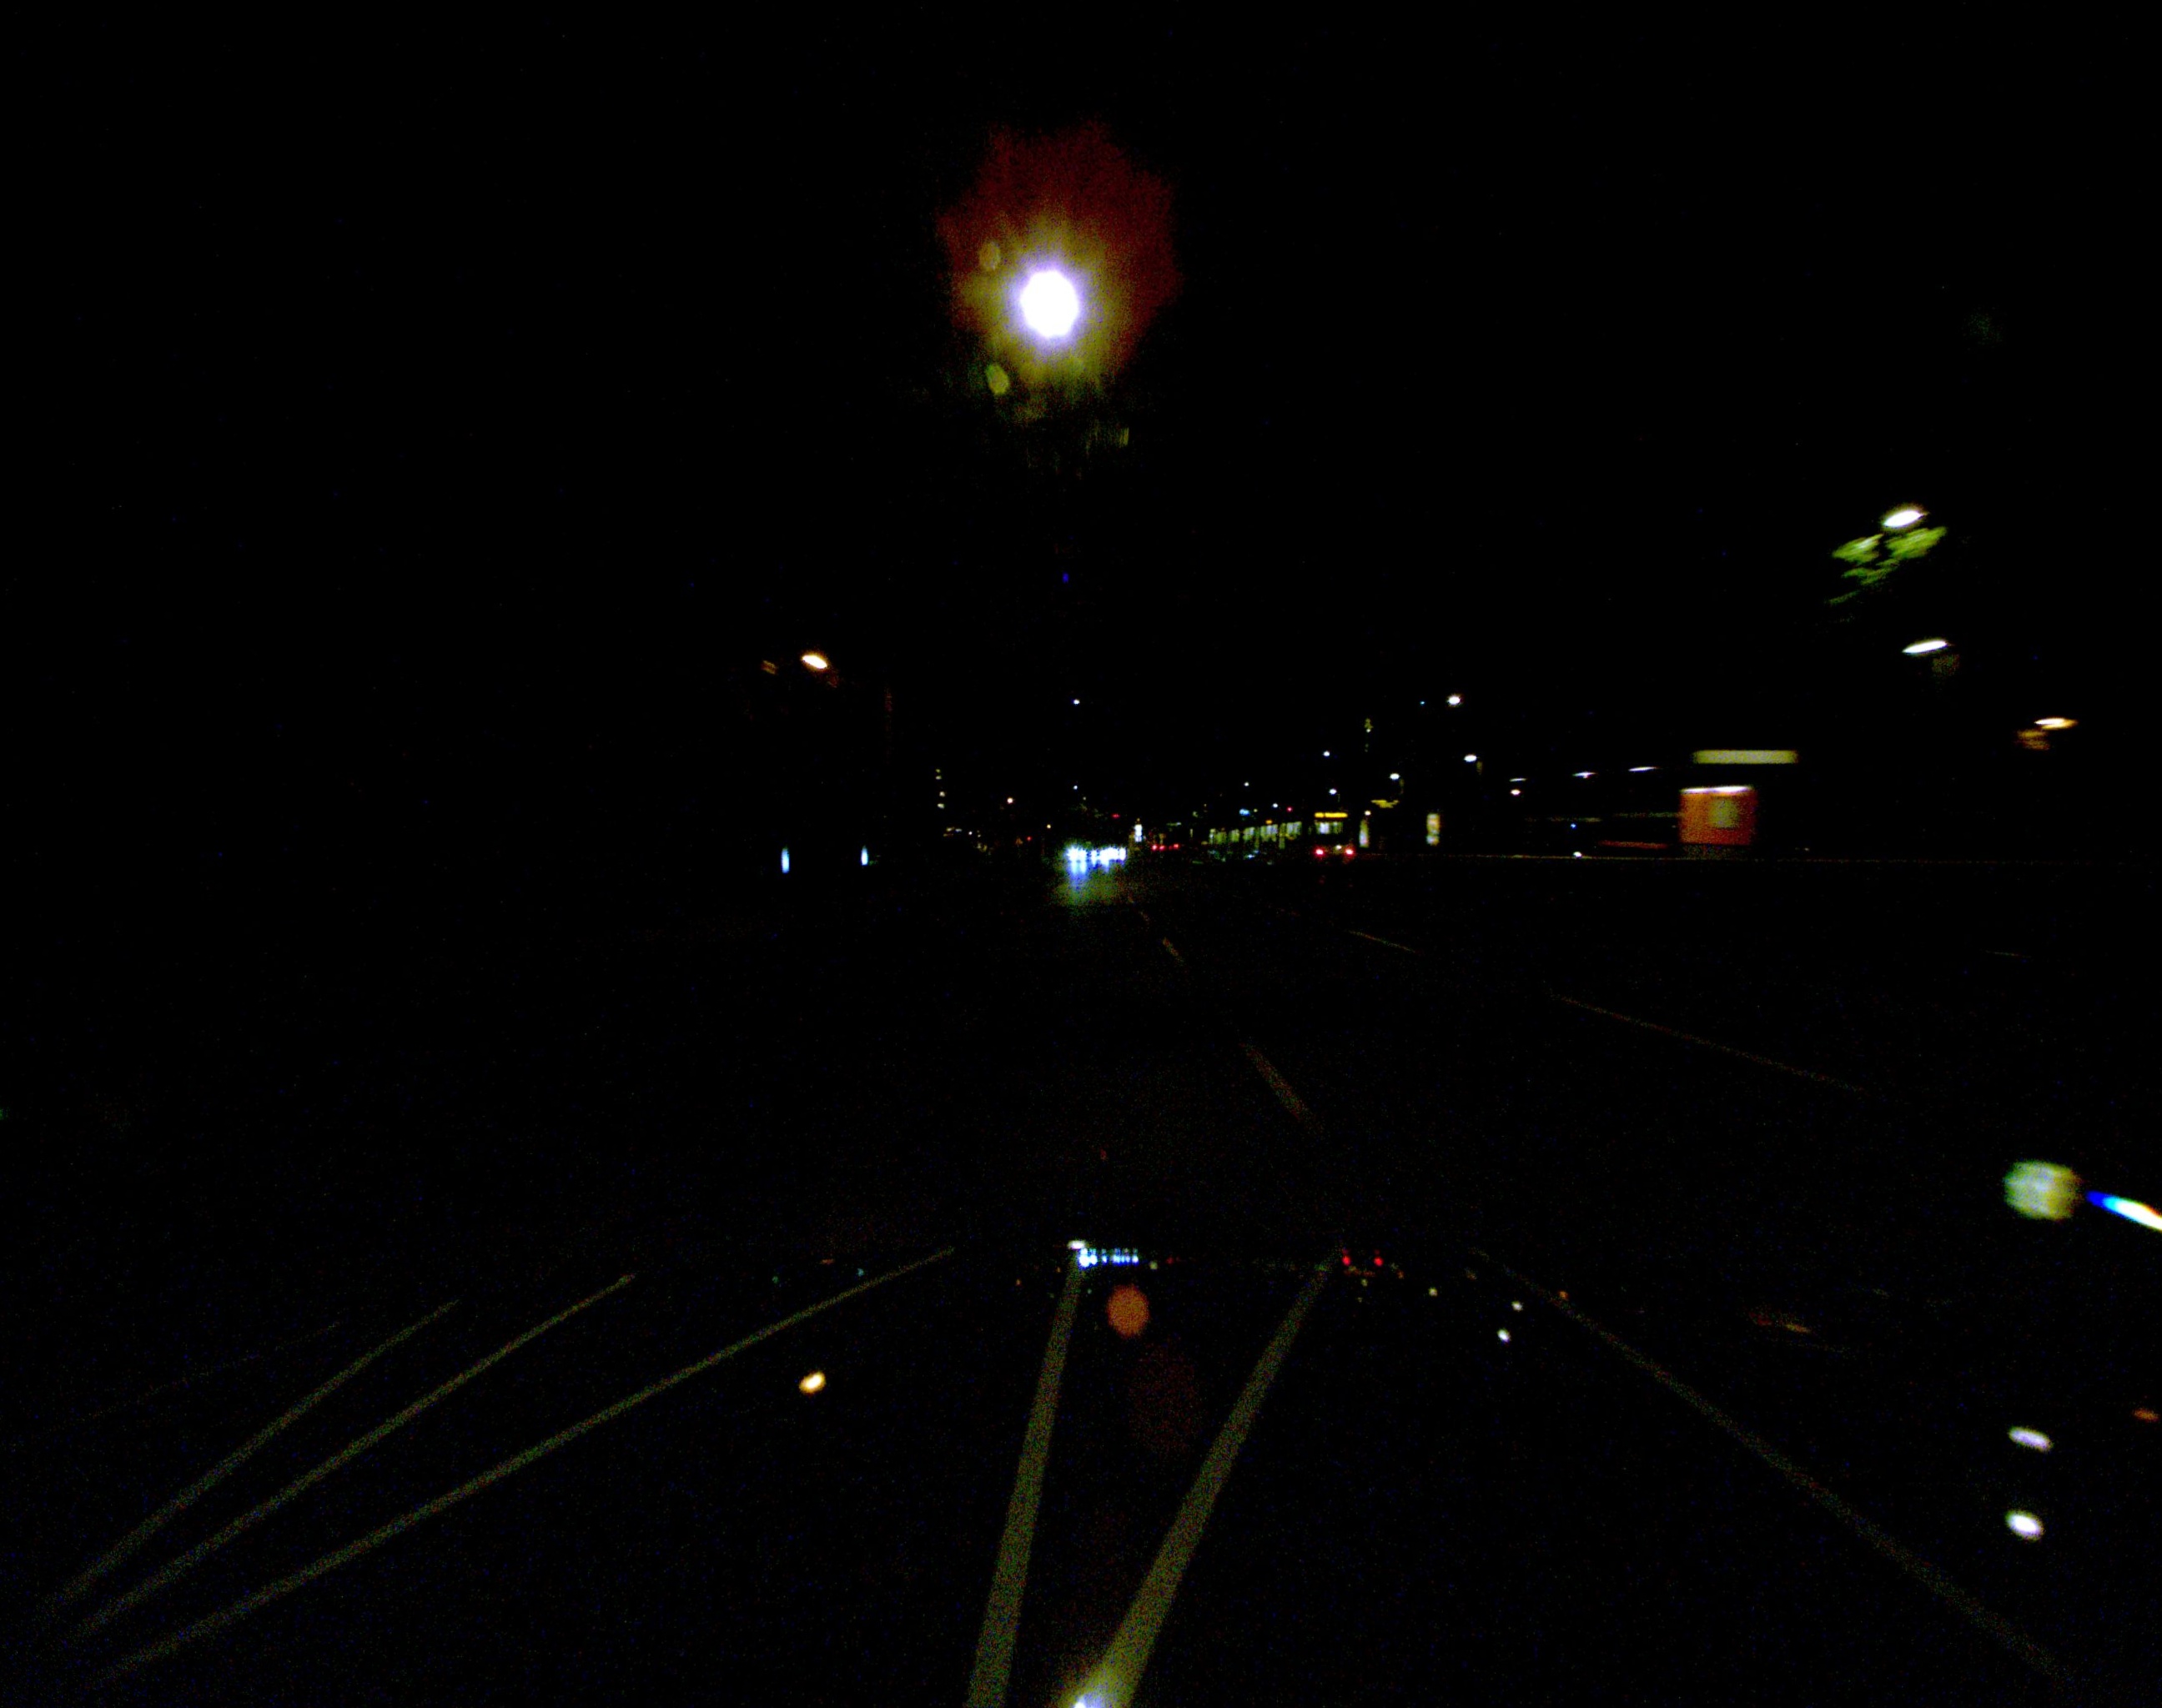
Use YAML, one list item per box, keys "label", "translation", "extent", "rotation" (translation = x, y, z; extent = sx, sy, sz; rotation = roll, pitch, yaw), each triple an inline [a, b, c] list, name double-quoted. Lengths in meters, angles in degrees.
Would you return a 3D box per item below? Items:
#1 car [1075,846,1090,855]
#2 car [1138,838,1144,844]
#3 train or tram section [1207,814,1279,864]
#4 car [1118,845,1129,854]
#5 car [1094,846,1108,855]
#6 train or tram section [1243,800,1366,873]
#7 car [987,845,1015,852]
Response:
- label: "car"
  translation: [0.236, -0.587, 124.716]
  extent: [1.947, 1.299, 3.907]
  rotation: [1, 1, 6]
- label: "car"
  translation: [17.131, -3.734, 216.772]
  extent: [1.827, 1.696, 4.000]
  rotation: [-2, 1, 4]
- label: "train or tram section"
  translation: [14.178, -1.281, 68.748]
  extent: [2.745, 3.824, 19.361]
  rotation: [-2, 1, 1]
- label: "car"
  translation: [7.986, -0.824, 143.001]
  extent: [1.908, 1.609, 3.718]
  rotation: [-2, 1, 1]
- label: "car"
  translation: [3.314, -0.587, 123.953]
  extent: [1.858, 1.482, 3.560]
  rotation: [-1, 1, 6]
- label: "train or tram section"
  translation: [13.846, -1.037, 49.730]
  extent: [2.765, 3.805, 18.668]
  rotation: [-2, 1, 1]
- label: "car"
  translation: [-11.679, -0.751, 111.394]
  extent: [4.008, 1.028, 1.480]
  rotation: [0, 0, -41]
